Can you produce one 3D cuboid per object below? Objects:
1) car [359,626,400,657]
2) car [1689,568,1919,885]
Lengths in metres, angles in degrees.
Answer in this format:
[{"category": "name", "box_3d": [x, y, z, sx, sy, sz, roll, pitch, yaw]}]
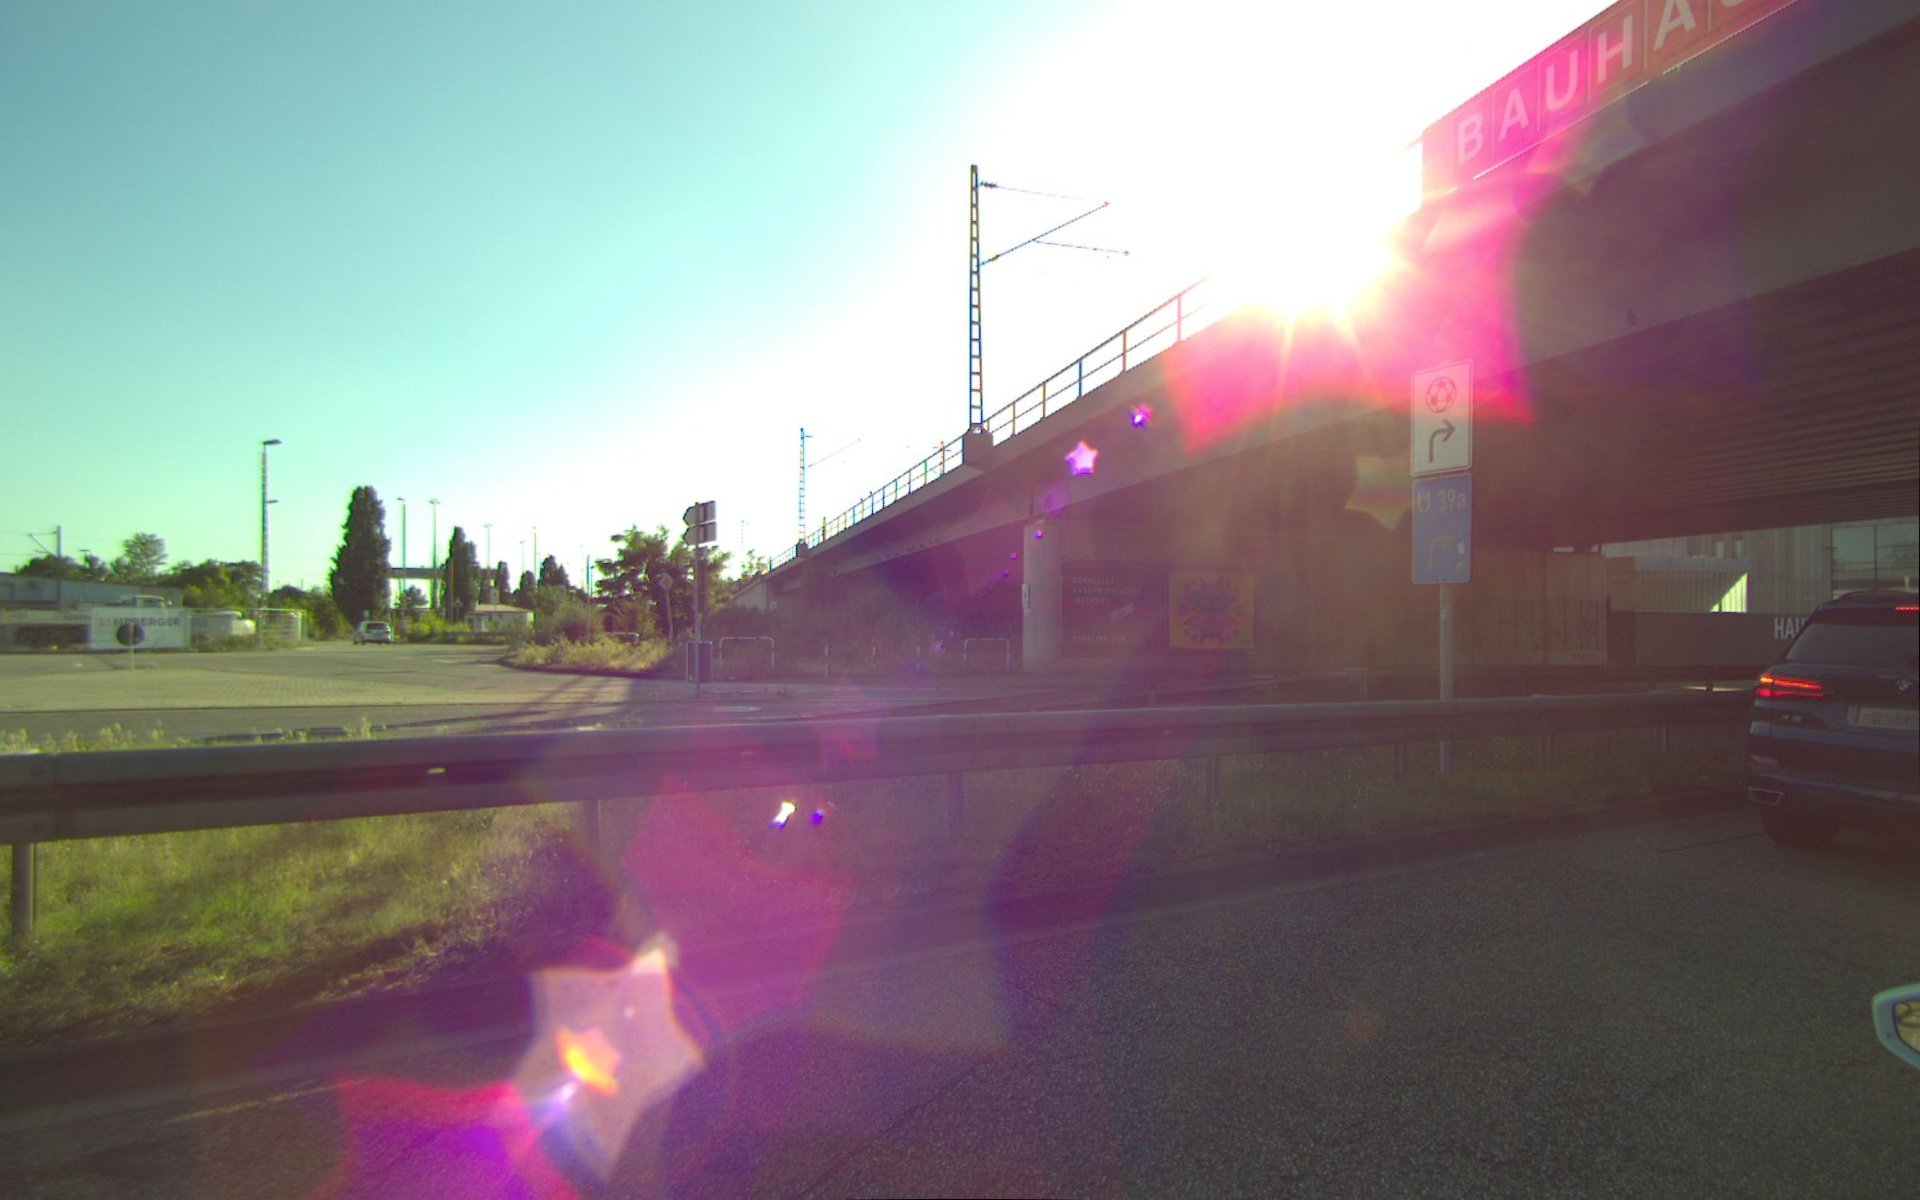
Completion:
[{"category": "car", "box_3d": [-42.042, 3.004, 72.713, 1.983, 2.040, 3.954, 2, 0, -39]}, {"category": "car", "box_3d": [7.246, 0.762, 6.727, 4.474, 1.757, 1.986, 2, 0, -27]}]
